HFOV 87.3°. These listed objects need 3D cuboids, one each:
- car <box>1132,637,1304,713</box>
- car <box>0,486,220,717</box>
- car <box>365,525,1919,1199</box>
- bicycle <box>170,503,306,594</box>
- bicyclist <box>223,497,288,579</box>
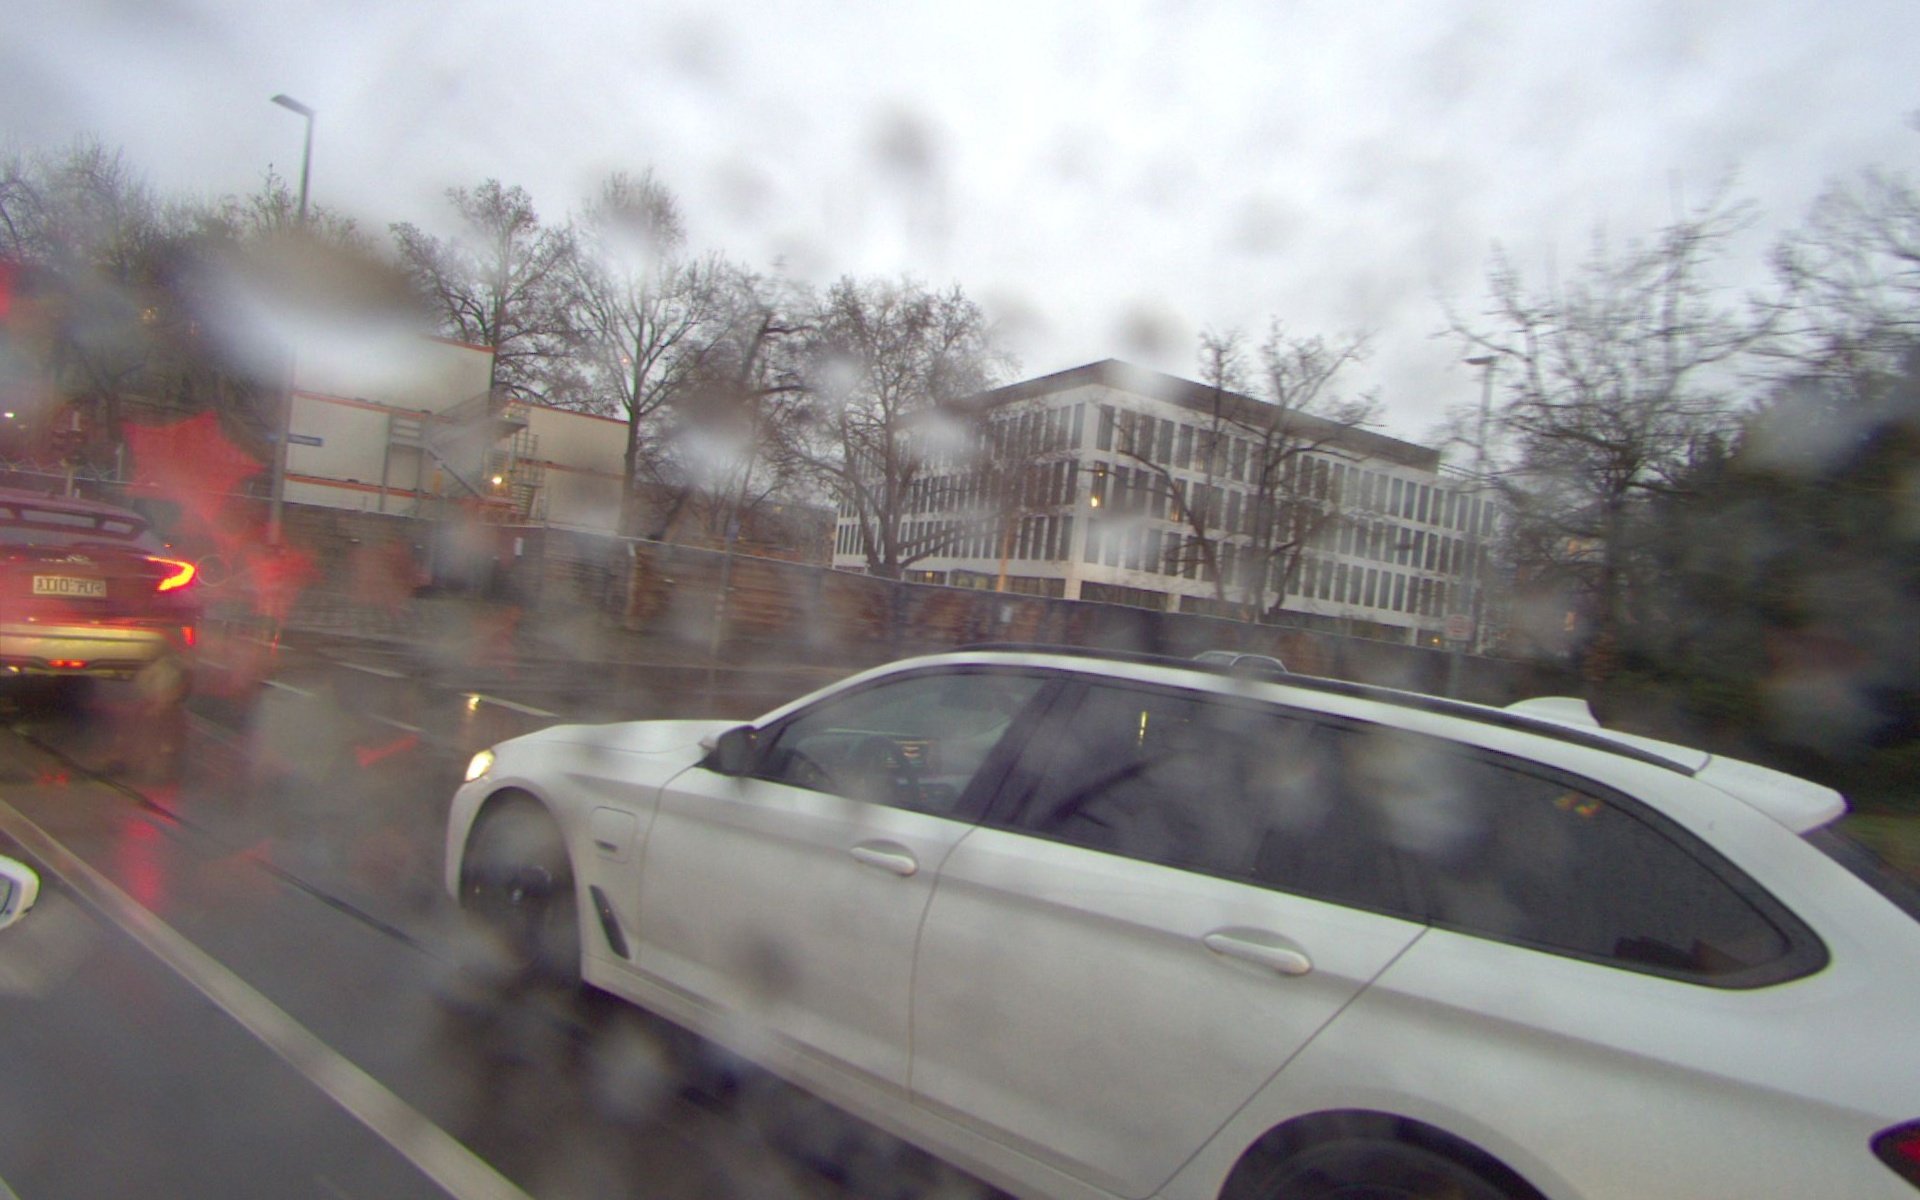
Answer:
[{"bbox_3d":[6.867,2.003,26.600,4.477,1.507,1.864,7,0,-36],"label":"car"},{"bbox_3d":[-7.697,-0.108,8.018,3.939,1.496,1.723,5,-2,37],"label":"car"},{"bbox_3d":[0.228,0.738,3.323,4.889,1.519,1.789,6,-2,35],"label":"car"},{"bbox_3d":[-15.893,-1.109,22.200,2.209,1.676,0.689,7,-1,-9],"label":"bicycle"},{"bbox_3d":[-15.575,-1.354,22.256,0.804,1.700,0.696,6,0,-9],"label":"bicyclist"}]
